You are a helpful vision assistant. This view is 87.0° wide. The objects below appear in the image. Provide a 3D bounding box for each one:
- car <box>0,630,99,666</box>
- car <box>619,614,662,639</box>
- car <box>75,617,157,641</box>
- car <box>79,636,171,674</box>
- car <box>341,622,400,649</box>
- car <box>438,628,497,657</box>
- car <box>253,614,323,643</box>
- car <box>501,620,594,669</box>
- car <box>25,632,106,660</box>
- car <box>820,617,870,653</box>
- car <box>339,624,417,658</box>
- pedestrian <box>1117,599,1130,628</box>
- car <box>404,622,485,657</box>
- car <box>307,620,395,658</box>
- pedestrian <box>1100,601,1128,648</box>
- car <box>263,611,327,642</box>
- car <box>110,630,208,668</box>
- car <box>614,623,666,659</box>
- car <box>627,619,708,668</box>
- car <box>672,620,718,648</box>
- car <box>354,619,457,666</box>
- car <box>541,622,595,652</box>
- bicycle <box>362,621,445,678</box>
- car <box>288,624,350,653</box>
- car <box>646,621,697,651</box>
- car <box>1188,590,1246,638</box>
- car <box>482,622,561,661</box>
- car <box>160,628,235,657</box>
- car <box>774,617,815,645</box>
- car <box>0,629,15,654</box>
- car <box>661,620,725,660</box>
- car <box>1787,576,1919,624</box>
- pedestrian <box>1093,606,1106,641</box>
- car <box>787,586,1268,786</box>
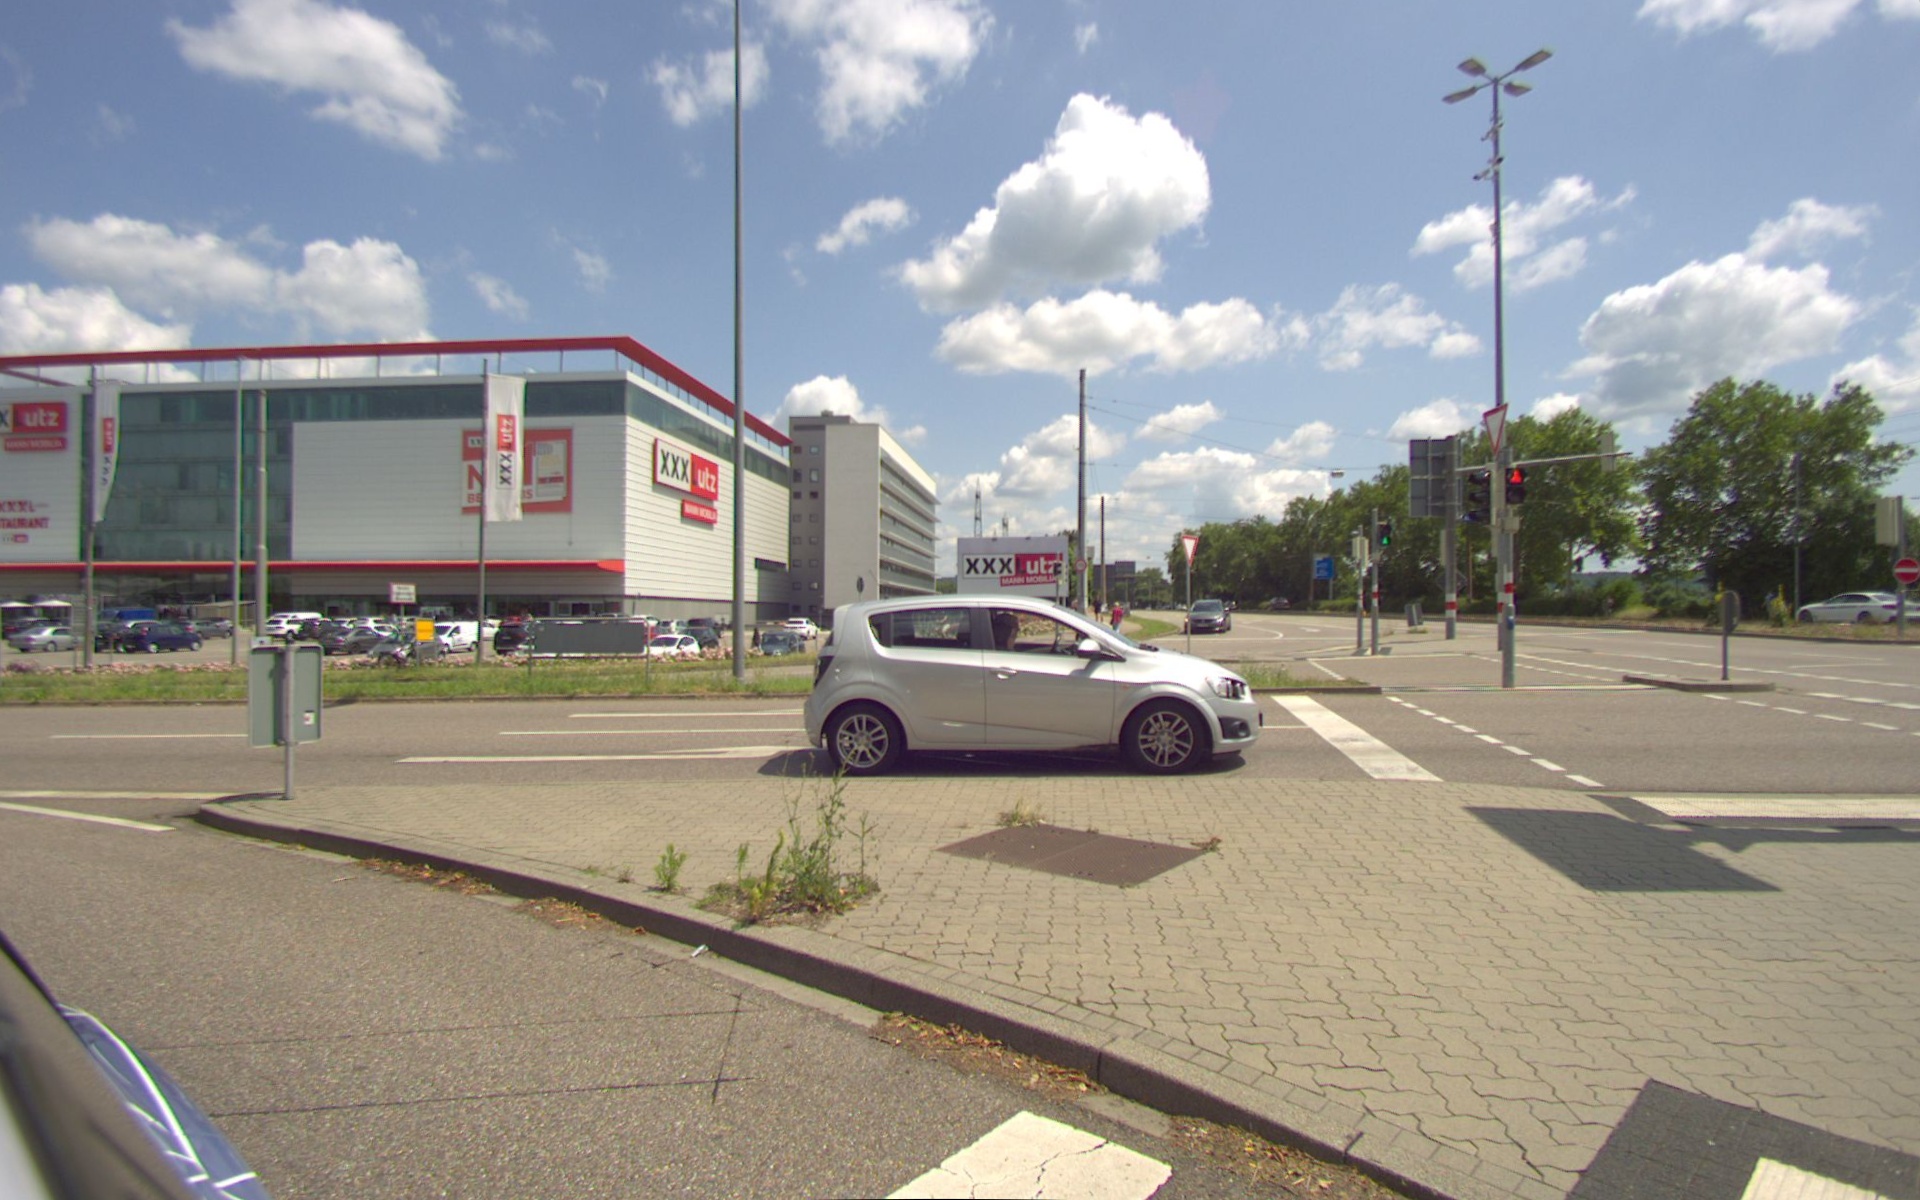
[{"bbox_3d":[-52.947,2.769,58.735,1.975,2.004,4.355,-1,-2,5],"label":"car"},{"bbox_3d":[-27.312,2.267,86.535,1.976,2.004,4.076,-1,-2,7],"label":"car"},{"bbox_3d":[-68.257,2.379,81.967,2.171,1.792,5.126,-1,-2,5],"label":"car"},{"bbox_3d":[-48.259,3.132,58.615,1.819,2.004,4.079,0,0,5],"label":"car"},{"bbox_3d":[-45.693,2.708,78.514,1.975,2.029,3.993,-1,-2,6],"label":"car"},{"bbox_3d":[-34.822,2.991,71.670,1.975,2.004,4.079,-1,-2,5],"label":"car"},{"bbox_3d":[-49.004,2.070,73.866,1.975,2.004,4.355,-1,-2,5],"label":"car"},{"bbox_3d":[-17.856,1.907,44.054,1.975,2.004,4.355,-1,-2,5],"label":"car"},{"bbox_3d":[-66.675,3.380,75.562,1.975,2.004,4.355,-1,-2,5],"label":"car"},{"bbox_3d":[-6.550,2.004,58.170,1.975,2.004,4.355,-1,-2,5],"label":"car"},{"bbox_3d":[-35.626,2.489,62.052,1.975,2.004,4.355,1,-2,5],"label":"car"},{"bbox_3d":[11.943,0.984,73.834,0.771,2.029,0.562,-2,-3,27],"label":"pedestrian"},{"bbox_3d":[-28.489,2.155,56.081,1.975,1.853,4.355,-1,-2,5],"label":"car"},{"bbox_3d":[-33.737,2.163,56.197,1.975,2.004,4.355,-1,-2,5],"label":"car"},{"bbox_3d":[6.298,0.993,41.462,0.852,1.851,0.801,-1,1,-22],"label":"pedestrian"},{"bbox_3d":[-52.938,2.130,80.676,1.846,2.324,4.563,-1,-2,5],"label":"car"},{"bbox_3d":[-45.905,2.799,58.144,1.975,2.004,4.355,-1,-1,5],"label":"car"},{"bbox_3d":[-18.983,2.423,60.288,1.969,2.004,5.316,0,-2,-6],"label":"car"},{"bbox_3d":[-12.609,1.858,43.877,1.976,2.029,3.990,-1,-2,8],"label":"car"},{"bbox_3d":[-19.878,2.559,75.988,1.975,2.004,4.355,-1,-2,5],"label":"car"},{"bbox_3d":[-24.886,1.902,45.629,1.975,2.004,4.355,-1,-2,5],"label":"car"},{"bbox_3d":[-27.360,2.576,70.778,1.975,2.004,4.079,-1,-2,5],"label":"car"},{"bbox_3d":[-17.110,1.516,31.130,2.024,1.688,1.018,-1,-2,7],"label":"bicycle"},{"bbox_3d":[-46.468,2.775,73.490,1.755,2.029,3.993,-1,-2,5],"label":"car"},{"bbox_3d":[-20.053,2.512,70.463,1.974,2.004,4.620,-1,-2,4],"label":"car"},{"bbox_3d":[11.631,0.678,45.686,1.987,2.029,3.970,-2,-2,22],"label":"car"},{"bbox_3d":[-23.868,2.229,55.277,1.975,2.004,4.589,0,-1,5],"label":"car"},{"bbox_3d":[-56.424,3.129,74.963,1.976,2.004,4.353,-1,-2,7],"label":"car"},{"bbox_3d":[-12.173,2.280,74.741,1.975,2.004,4.355,-1,-2,5],"label":"car"},{"bbox_3d":[-76.039,3.220,78.079,1.975,2.004,4.355,-1,-2,5],"label":"car"},{"bbox_3d":[-14.214,2.110,54.108,1.975,2.004,4.355,-1,-2,5],"label":"car"},{"bbox_3d":[37.967,0.048,42.463,1.970,1.822,5.140,0,-2,-5],"label":"car"},{"bbox_3d":[7.458,1.256,54.235,0.592,1.824,0.532,-2,-2,17],"label":"pedestrian"},{"bbox_3d":[0.560,0.695,9.020,3.784,1.481,1.898,-2,0,4],"label":"car"}]
